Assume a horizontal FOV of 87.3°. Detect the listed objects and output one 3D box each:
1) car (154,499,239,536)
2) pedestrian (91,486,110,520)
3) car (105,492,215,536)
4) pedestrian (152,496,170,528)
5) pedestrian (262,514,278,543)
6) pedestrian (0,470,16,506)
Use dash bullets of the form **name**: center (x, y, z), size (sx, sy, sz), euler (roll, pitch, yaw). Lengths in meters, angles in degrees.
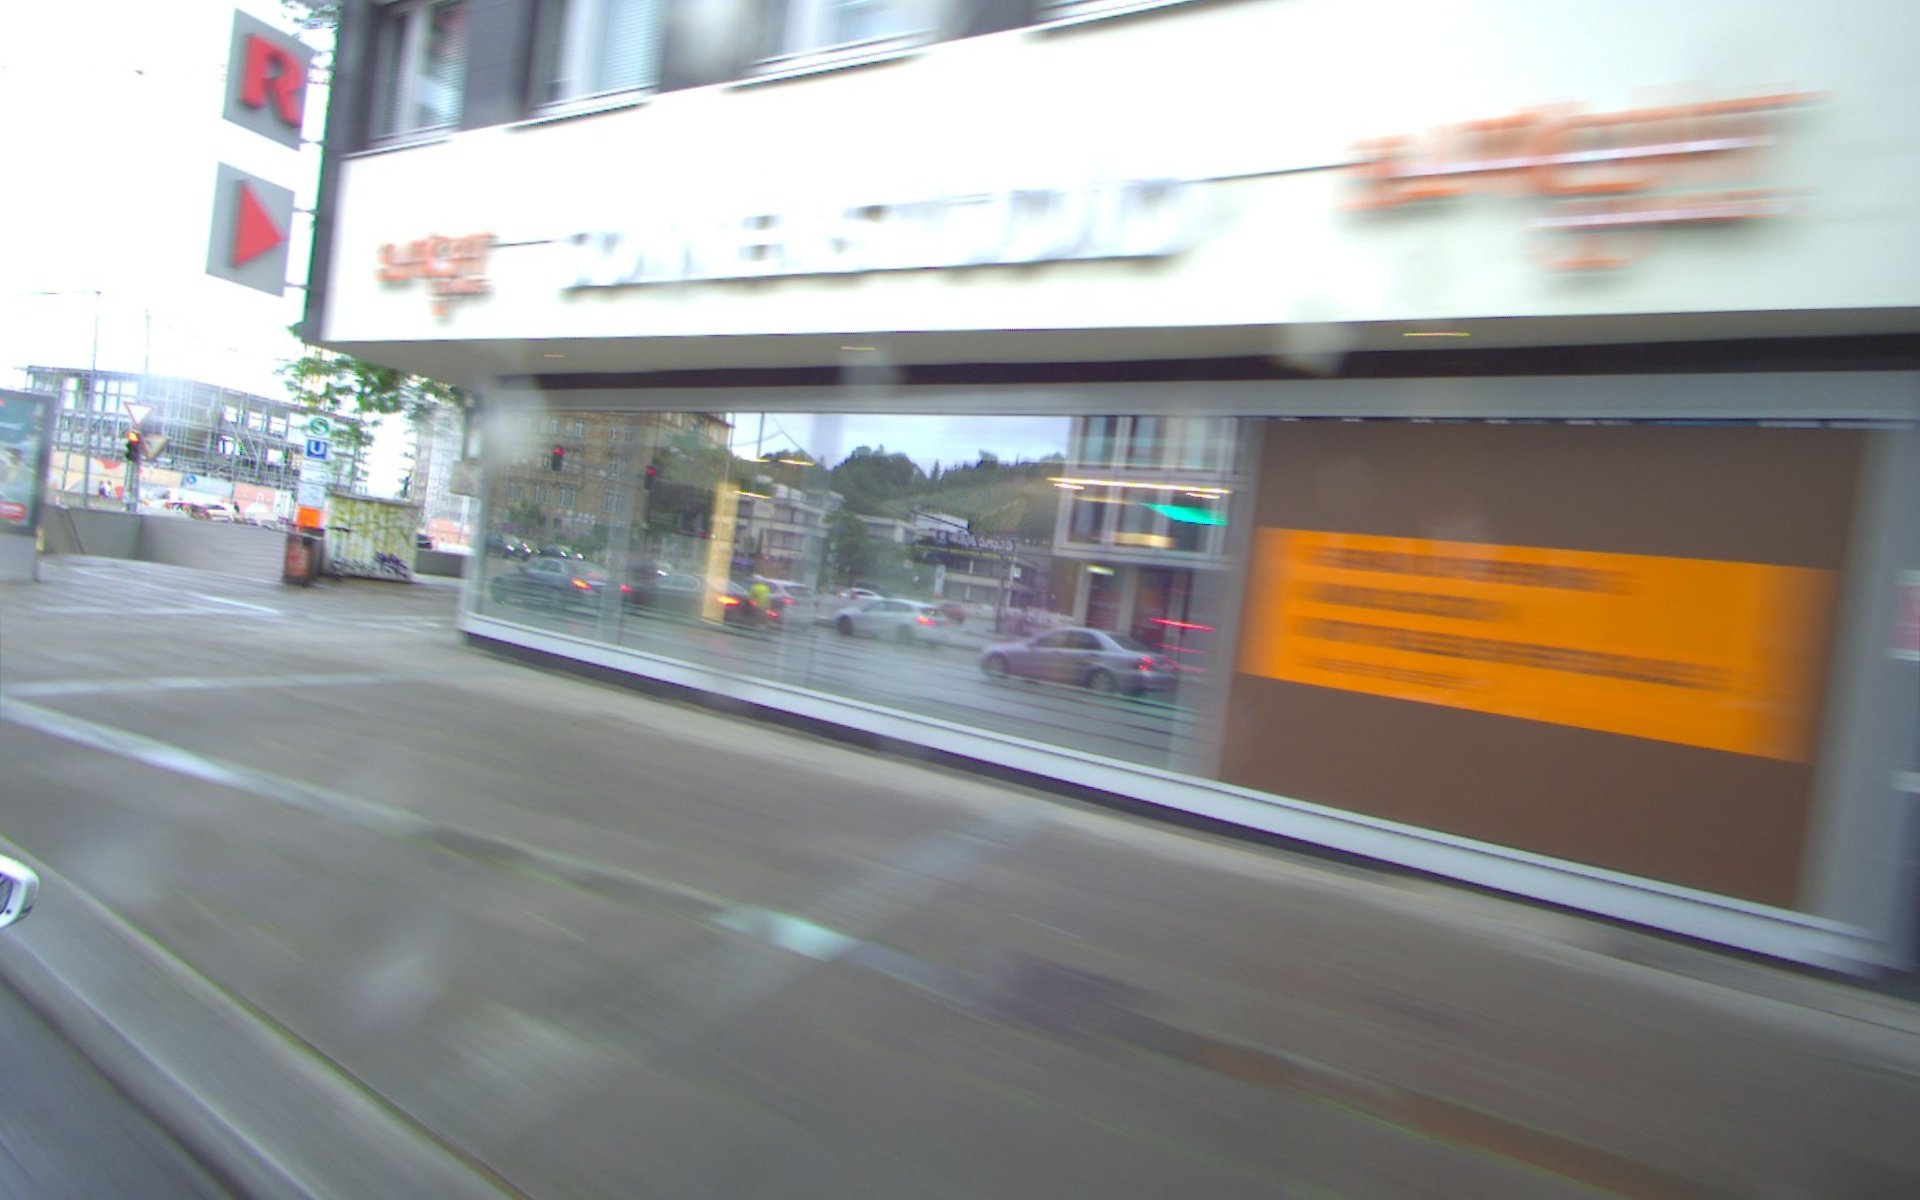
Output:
- **car**: center (-44.481, -4.818, 58.680), size (1.760, 1.490, 3.547), euler (6, -2, 39)
- **pedestrian**: center (-51.064, -5.748, 59.768), size (0.356, 1.920, 0.575), euler (7, -1, 31)
- **car**: center (-36.898, -3.957, 46.508), size (1.636, 1.319, 3.546), euler (7, -2, 23)
- **pedestrian**: center (-49.184, -5.419, 61.937), size (0.356, 1.920, 0.575), euler (7, -1, 31)
- **pedestrian**: center (-47.209, -4.891, 68.835), size (0.356, 1.920, 0.576), euler (7, -1, 29)
- **pedestrian**: center (-53.871, -6.301, 56.807), size (0.356, 1.920, 0.575), euler (7, -1, 34)
